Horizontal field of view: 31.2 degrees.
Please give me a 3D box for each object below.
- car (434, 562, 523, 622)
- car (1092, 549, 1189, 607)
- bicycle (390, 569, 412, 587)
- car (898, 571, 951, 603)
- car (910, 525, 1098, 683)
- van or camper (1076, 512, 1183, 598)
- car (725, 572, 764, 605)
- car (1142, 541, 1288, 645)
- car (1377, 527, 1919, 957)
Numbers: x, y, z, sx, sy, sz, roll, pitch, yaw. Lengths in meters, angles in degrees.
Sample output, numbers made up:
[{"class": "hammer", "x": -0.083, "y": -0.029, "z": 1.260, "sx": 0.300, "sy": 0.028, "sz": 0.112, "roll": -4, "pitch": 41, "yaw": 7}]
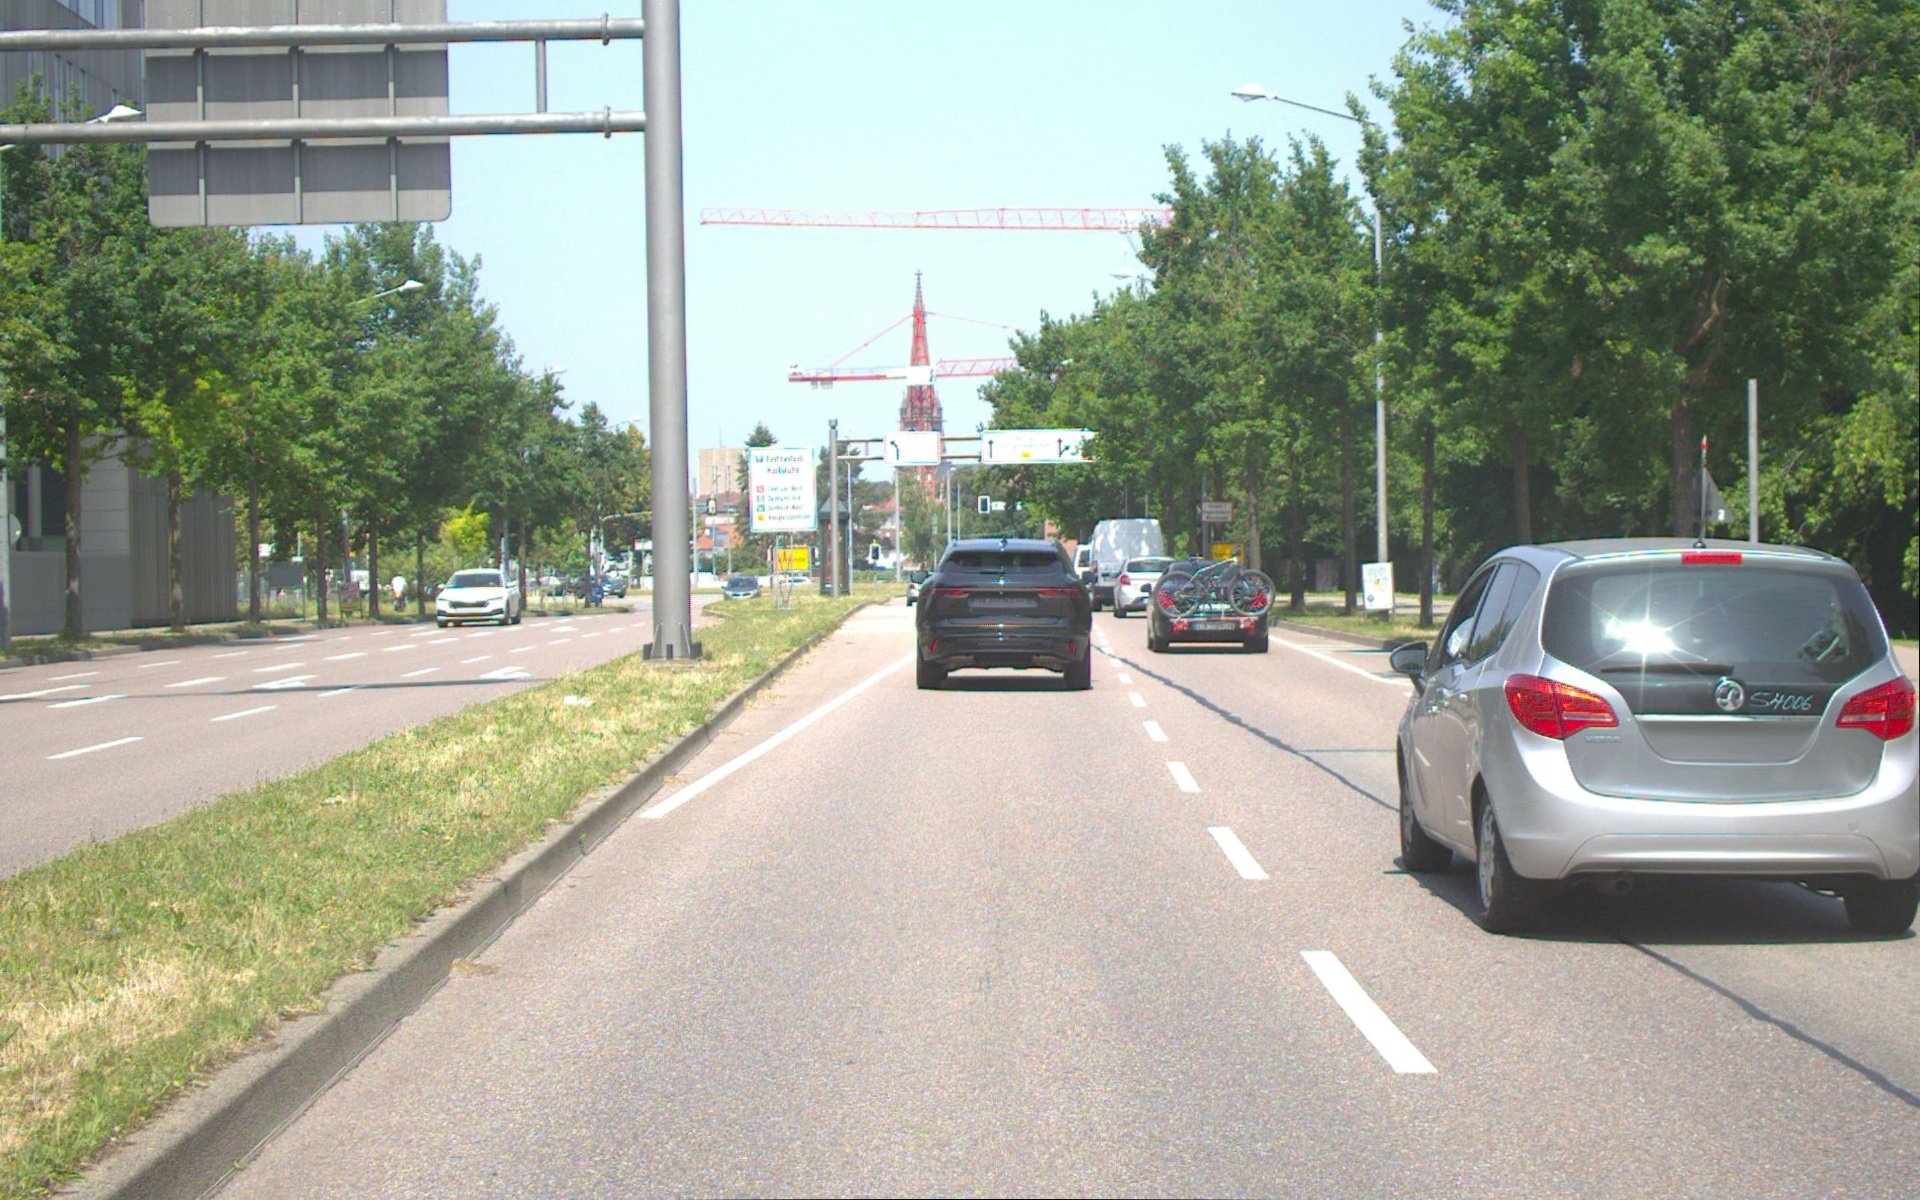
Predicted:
[{"class": "car", "x": -12.353, "y": -0.216, "z": 88.384, "sx": 1.810, "sy": 1.422, "sz": 4.359, "roll": -2, "pitch": 1, "yaw": -2}, {"class": "car", "x": 4.386, "y": -0.526, "z": 84.099, "sx": 1.654, "sy": 1.351, "sz": 4.461, "roll": -1, "pitch": 0, "yaw": -6}, {"class": "bicycle", "x": -22.835, "y": -0.893, "z": 140.466, "sx": 0.481, "sy": 0.713, "sz": 1.850, "roll": -1, "pitch": 0, "yaw": 3}, {"class": "car", "x": -1.563, "y": -0.562, "z": 150.348, "sx": 1.993, "sy": 1.316, "sz": 4.001, "roll": -1, "pitch": 1, "yaw": -5}, {"class": "car", "x": 0.500, "y": 0.014, "z": 38.677, "sx": 1.998, "sy": 1.684, "sz": 4.033, "roll": 0, "pitch": 1, "yaw": 1}, {"class": "van or camper", "x": 4.681, "y": -1.239, "z": 95.762, "sx": 2.493, "sy": 2.283, "sz": 4.921, "roll": -1, "pitch": 0, "yaw": -2}, {"class": "car", "x": -10.224, "y": -0.549, "z": 163.360, "sx": 1.707, "sy": 1.467, "sz": 3.942, "roll": -2, "pitch": 1, "yaw": -2}, {"class": "car", "x": 3.896, "y": -0.141, "z": 53.193, "sx": 2.014, "sy": 1.512, "sz": 4.461, "roll": -1, "pitch": 1, "yaw": 1}, {"class": "car", "x": 2.934, "y": 0.507, "z": 14.946, "sx": 1.792, "sy": 1.606, "sz": 3.891, "roll": -1, "pitch": 1, "yaw": 1}]
